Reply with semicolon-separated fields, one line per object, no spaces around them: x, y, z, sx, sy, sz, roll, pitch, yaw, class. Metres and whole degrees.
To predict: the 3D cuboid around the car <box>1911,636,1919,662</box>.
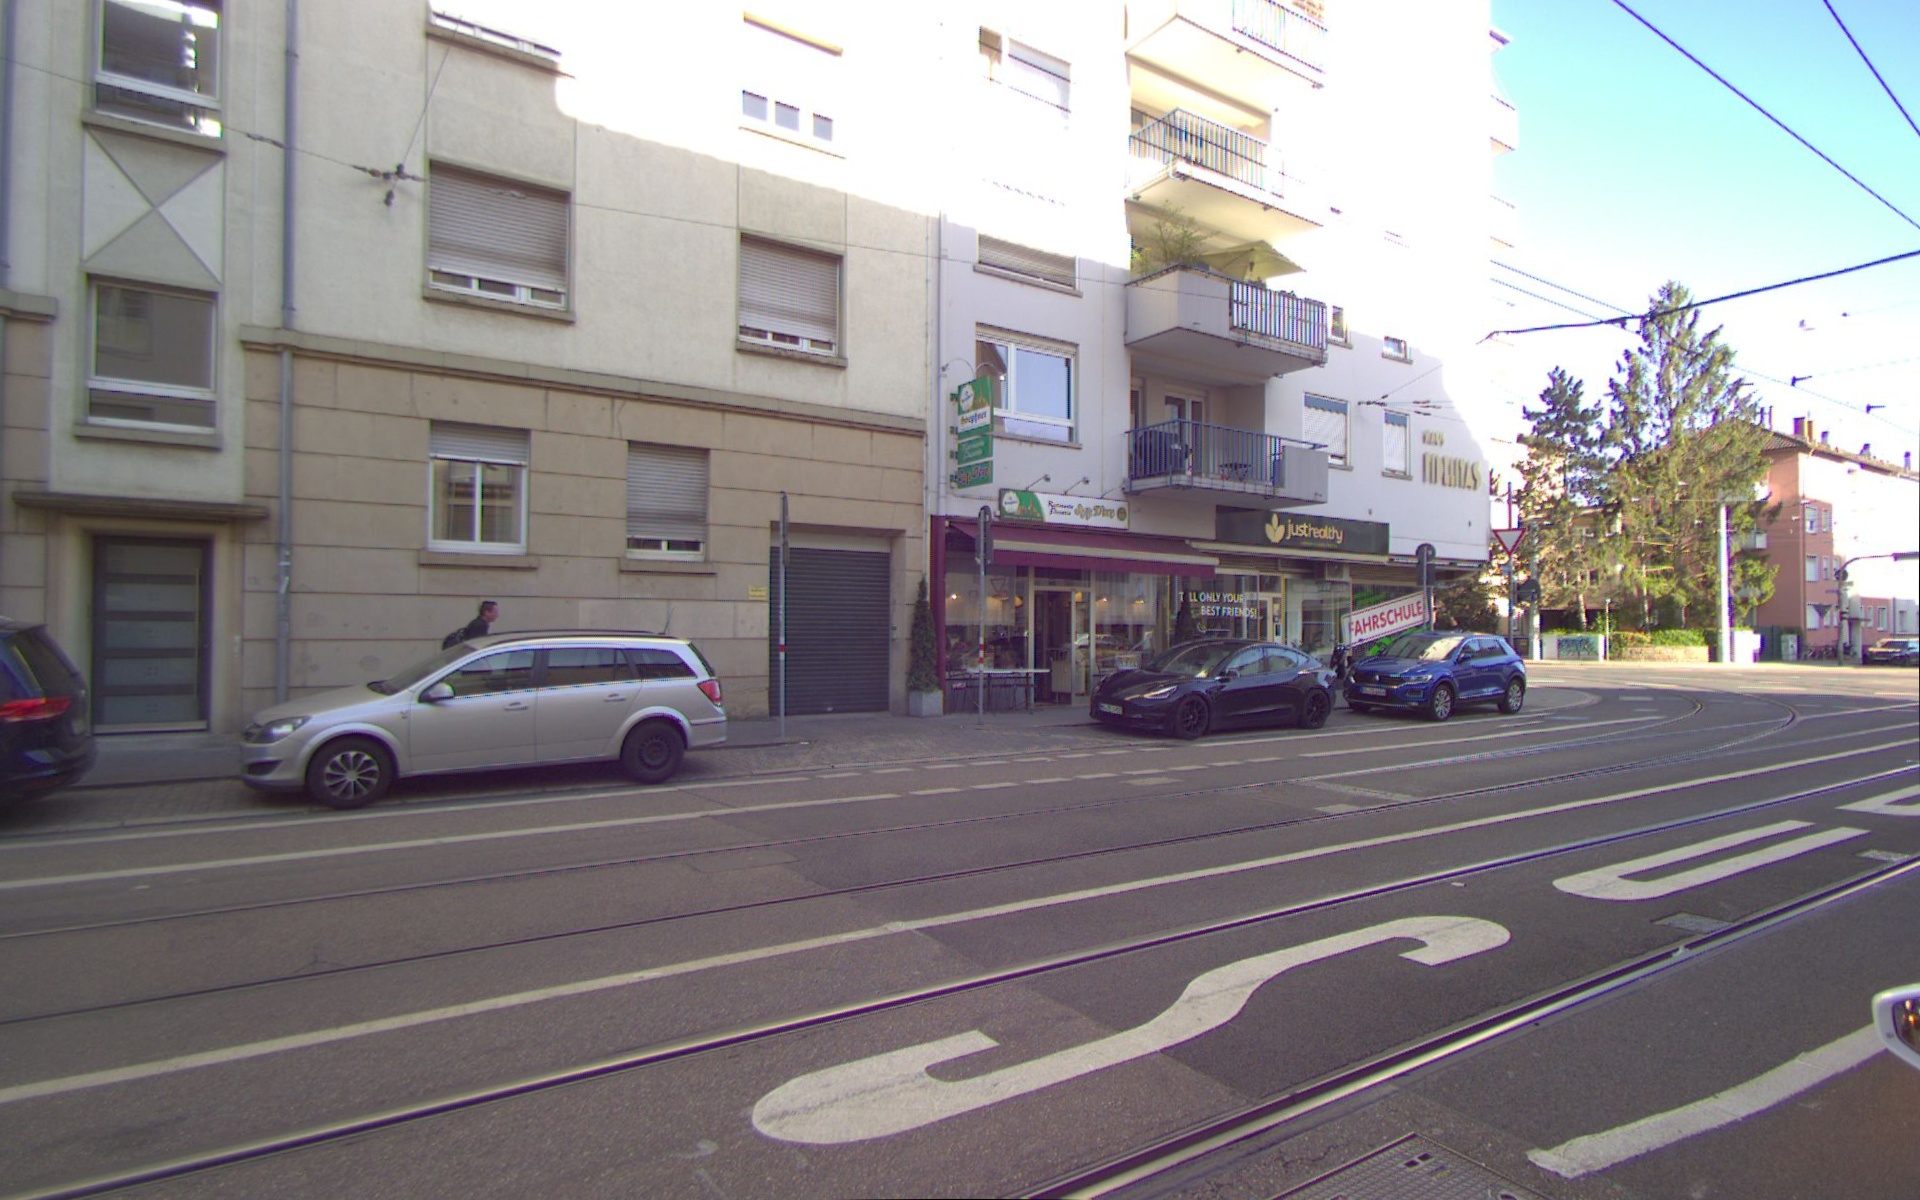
58.124;2.902;59.444;3.961;1.539;1.938;1;-2;-36;car

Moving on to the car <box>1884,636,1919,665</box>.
54.270;2.845;57.006;4.006;1.539;1.938;1;-2;-36;car

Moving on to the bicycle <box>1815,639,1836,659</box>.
50.738;2.864;58.874;1.892;1.097;0.533;1;-2;-37;bicycle

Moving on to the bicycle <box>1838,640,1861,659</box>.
53.154;2.942;60.018;1.892;1.097;0.605;1;-2;-37;bicycle

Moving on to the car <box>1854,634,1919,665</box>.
49.722;2.620;53.776;3.961;1.539;1.938;1;-2;-36;car
